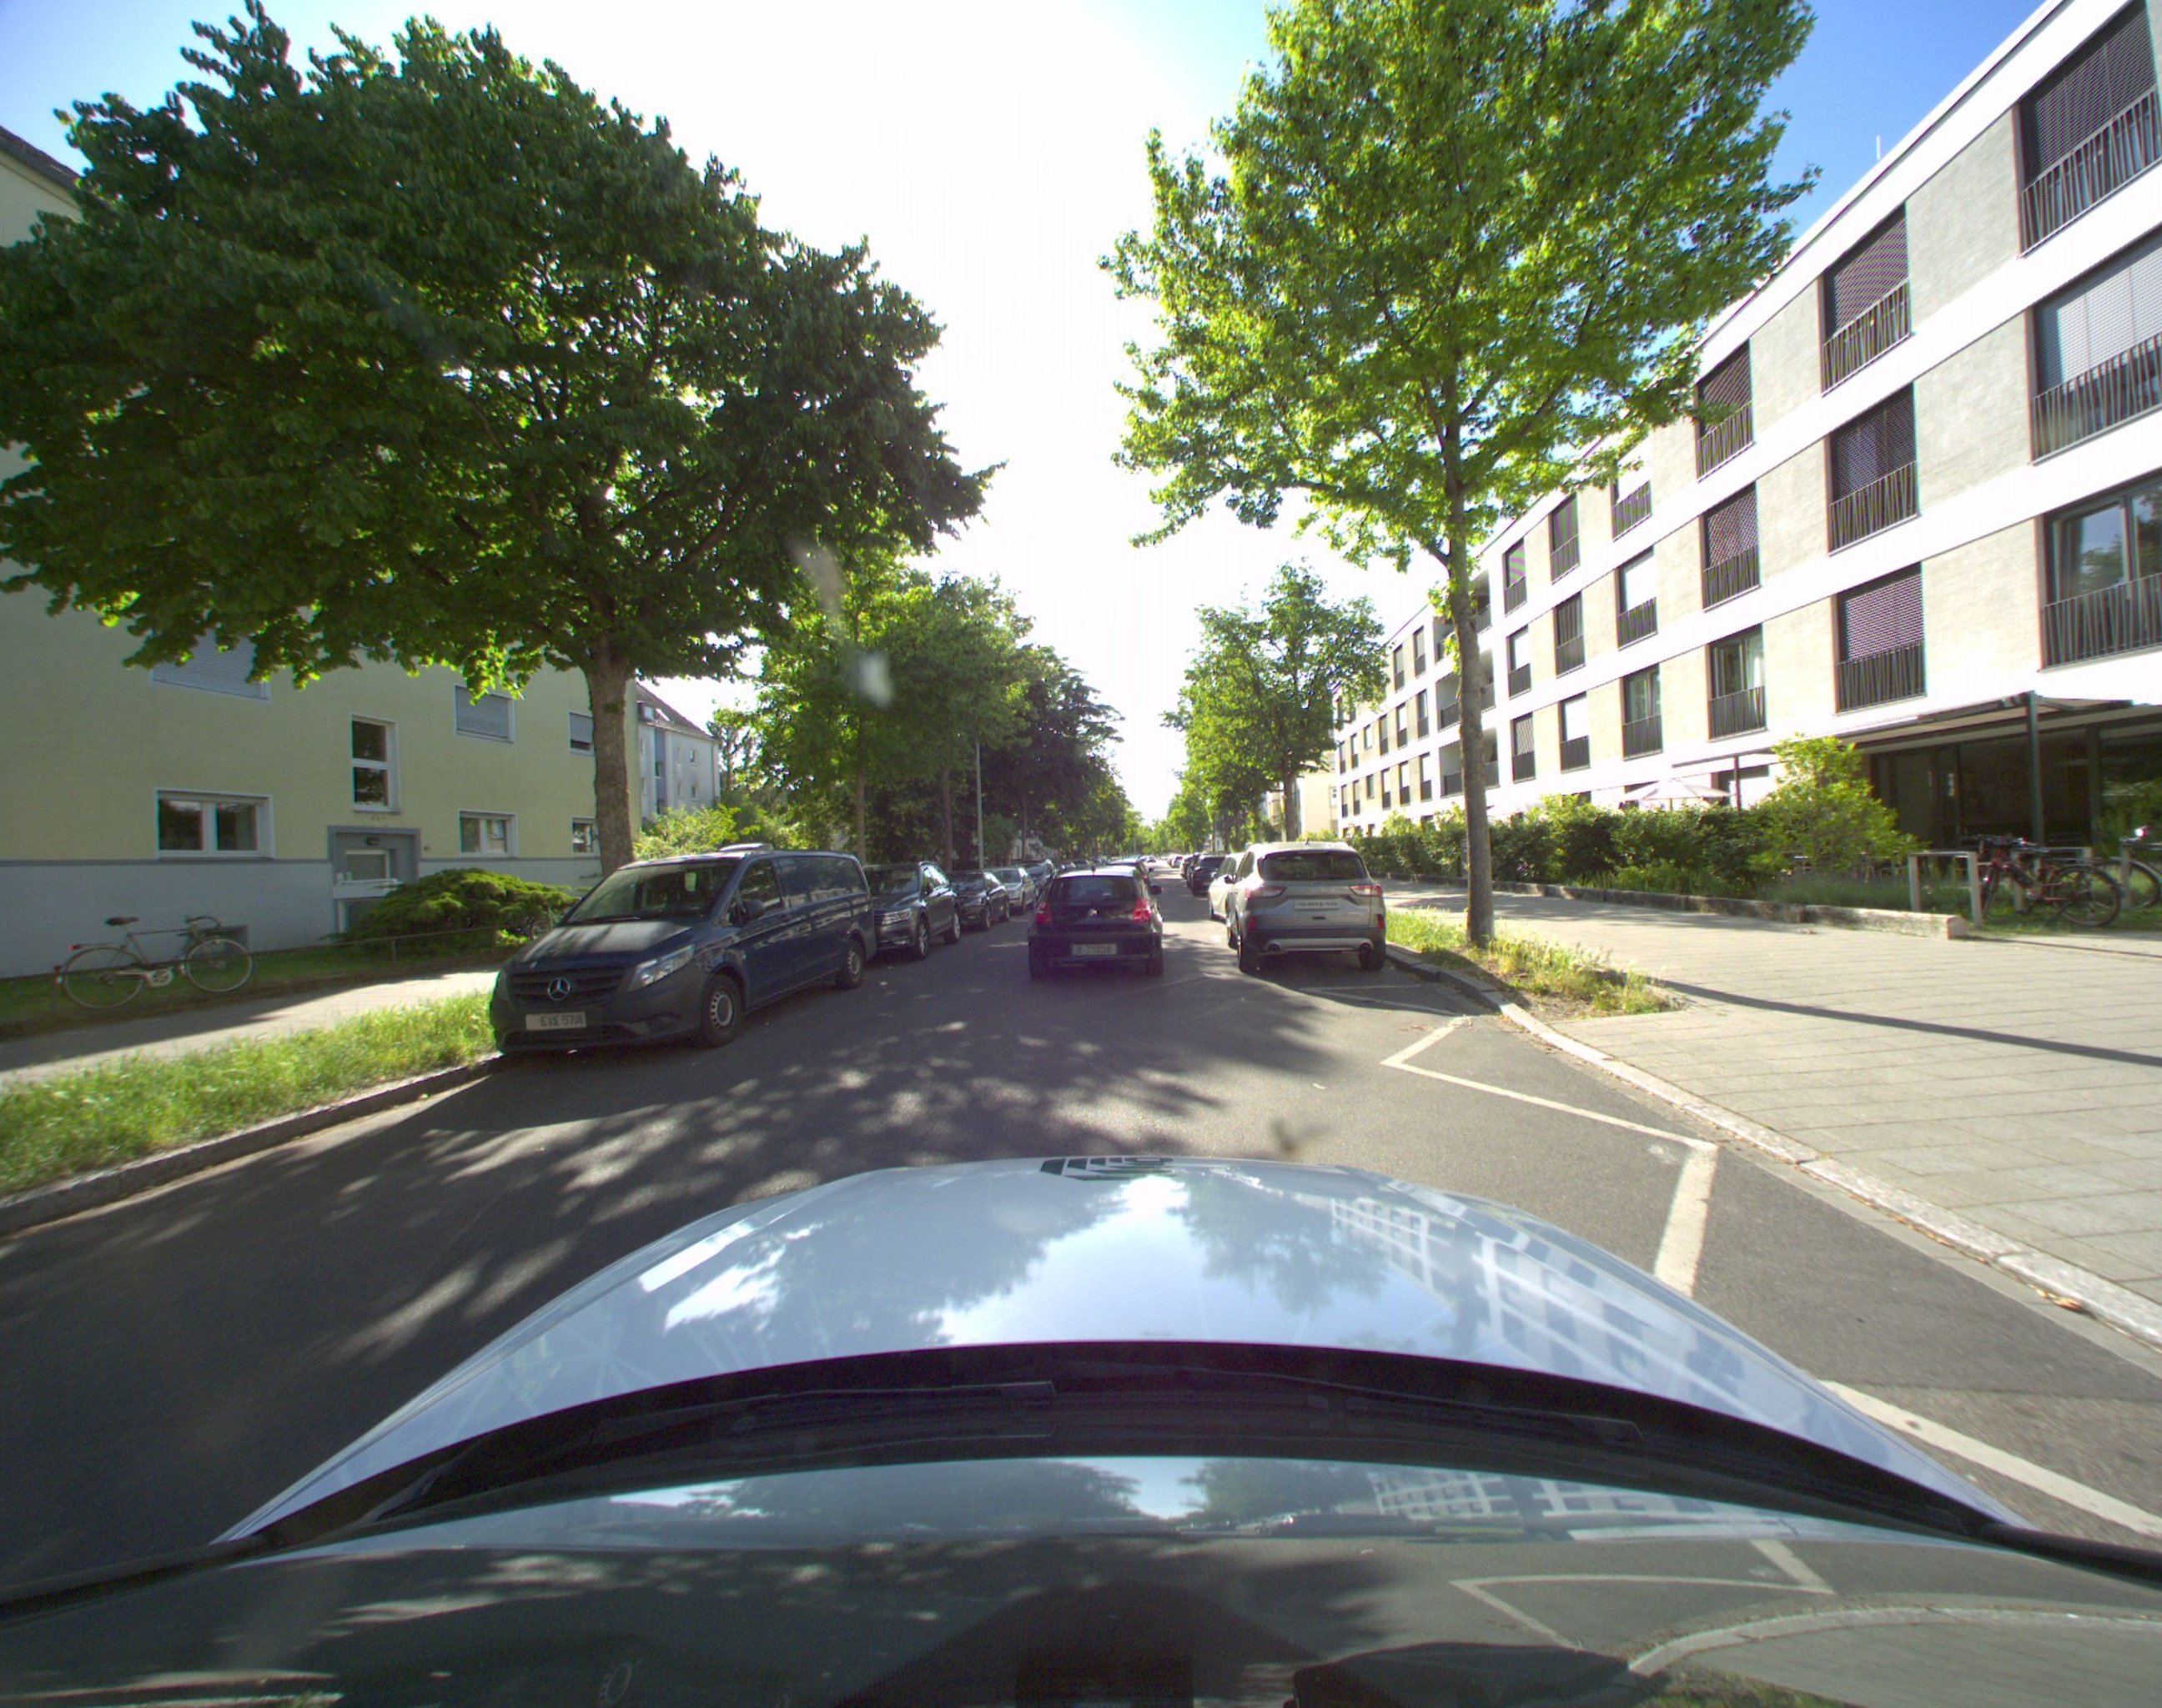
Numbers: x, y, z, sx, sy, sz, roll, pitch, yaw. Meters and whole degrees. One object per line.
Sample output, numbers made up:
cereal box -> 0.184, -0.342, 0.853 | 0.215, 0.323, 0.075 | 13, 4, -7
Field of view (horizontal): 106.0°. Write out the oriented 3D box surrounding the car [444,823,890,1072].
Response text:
car -> -3.971, 0.768, 9.136 | 1.817, 1.904, 5.151 | -4, 0, 6

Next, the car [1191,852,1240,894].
car -> 5.185, 0.711, 31.810 | 1.712, 1.528, 4.007 | 0, 0, 7

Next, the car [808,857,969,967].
car -> -3.315, 0.919, 14.871 | 1.605, 1.611, 4.233 | -4, 0, 3

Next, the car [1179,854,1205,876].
car -> 7.835, 0.728, 57.630 | 1.712, 1.480, 3.858 | 0, 0, 7

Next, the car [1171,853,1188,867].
car -> 11.227, 0.629, 92.818 | 1.711, 1.480, 3.860 | -3, 0, 8

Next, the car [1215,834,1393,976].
car -> 2.971, 0.626, 11.766 | 1.838, 1.631, 4.419 | -2, -1, 7

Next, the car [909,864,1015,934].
car -> -2.817, 1.021, 20.164 | 1.604, 1.427, 4.063 | -4, 0, 5

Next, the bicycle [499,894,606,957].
bicycle -> -10.012, 1.327, 15.527 | 0.592, 0.991, 1.931 | -3, 0, 6

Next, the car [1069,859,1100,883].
car -> 0.261, 1.095, 52.760 | 1.604, 1.392, 3.871 | -4, 0, 5

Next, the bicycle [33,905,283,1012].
bicycle -> -10.740, 1.169, 9.599 | 0.592, 0.991, 1.931 | -3, 0, 6

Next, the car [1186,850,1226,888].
car -> 5.747, 0.661, 37.801 | 1.712, 1.641, 3.858 | 0, 0, 7

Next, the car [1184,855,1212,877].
car -> 7.542, 0.764, 52.842 | 1.712, 1.379, 3.858 | 0, 0, 7

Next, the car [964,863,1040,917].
car -> -2.373, 1.048, 25.246 | 1.604, 1.427, 3.730 | -4, 0, 5

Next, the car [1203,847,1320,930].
car -> 3.719, 0.659, 17.425 | 1.687, 1.524, 4.002 | -2, 0, 2

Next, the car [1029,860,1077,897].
car -> -1.189, 1.037, 36.347 | 1.604, 1.452, 3.871 | -4, 0, 5

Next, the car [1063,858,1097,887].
car -> -0.023, 1.037, 47.829 | 1.604, 1.543, 3.871 | -4, 0, 5

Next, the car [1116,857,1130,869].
car -> 5.214, 1.086, 101.001 | 1.604, 1.392, 3.871 | -3, 0, 5

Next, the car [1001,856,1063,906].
car -> -1.761, 0.955, 30.663 | 1.604, 1.679, 4.240 | -4, 0, 5

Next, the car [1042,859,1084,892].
car -> -0.853, 1.043, 40.953 | 1.604, 1.452, 3.871 | -4, 0, 5

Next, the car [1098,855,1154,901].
car -> 1.664, 0.811, 28.936 | 1.640, 1.425, 4.009 | -3, 0, 7

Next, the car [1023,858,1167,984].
car -> 0.180, 0.802, 11.408 | 1.644, 1.397, 3.411 | -3, 0, 0

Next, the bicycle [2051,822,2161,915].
bicycle -> 12.697, 0.161, 9.540 | 0.544, 1.055, 1.781 | -3, -1, 3

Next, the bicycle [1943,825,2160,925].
bicycle -> 11.343, 0.231, 9.617 | 0.544, 1.055, 1.693 | -3, -1, 3

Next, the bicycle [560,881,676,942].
bicycle -> -10.456, 1.283, 18.453 | 2.142, 1.208, 0.689 | -3, 0, -6
